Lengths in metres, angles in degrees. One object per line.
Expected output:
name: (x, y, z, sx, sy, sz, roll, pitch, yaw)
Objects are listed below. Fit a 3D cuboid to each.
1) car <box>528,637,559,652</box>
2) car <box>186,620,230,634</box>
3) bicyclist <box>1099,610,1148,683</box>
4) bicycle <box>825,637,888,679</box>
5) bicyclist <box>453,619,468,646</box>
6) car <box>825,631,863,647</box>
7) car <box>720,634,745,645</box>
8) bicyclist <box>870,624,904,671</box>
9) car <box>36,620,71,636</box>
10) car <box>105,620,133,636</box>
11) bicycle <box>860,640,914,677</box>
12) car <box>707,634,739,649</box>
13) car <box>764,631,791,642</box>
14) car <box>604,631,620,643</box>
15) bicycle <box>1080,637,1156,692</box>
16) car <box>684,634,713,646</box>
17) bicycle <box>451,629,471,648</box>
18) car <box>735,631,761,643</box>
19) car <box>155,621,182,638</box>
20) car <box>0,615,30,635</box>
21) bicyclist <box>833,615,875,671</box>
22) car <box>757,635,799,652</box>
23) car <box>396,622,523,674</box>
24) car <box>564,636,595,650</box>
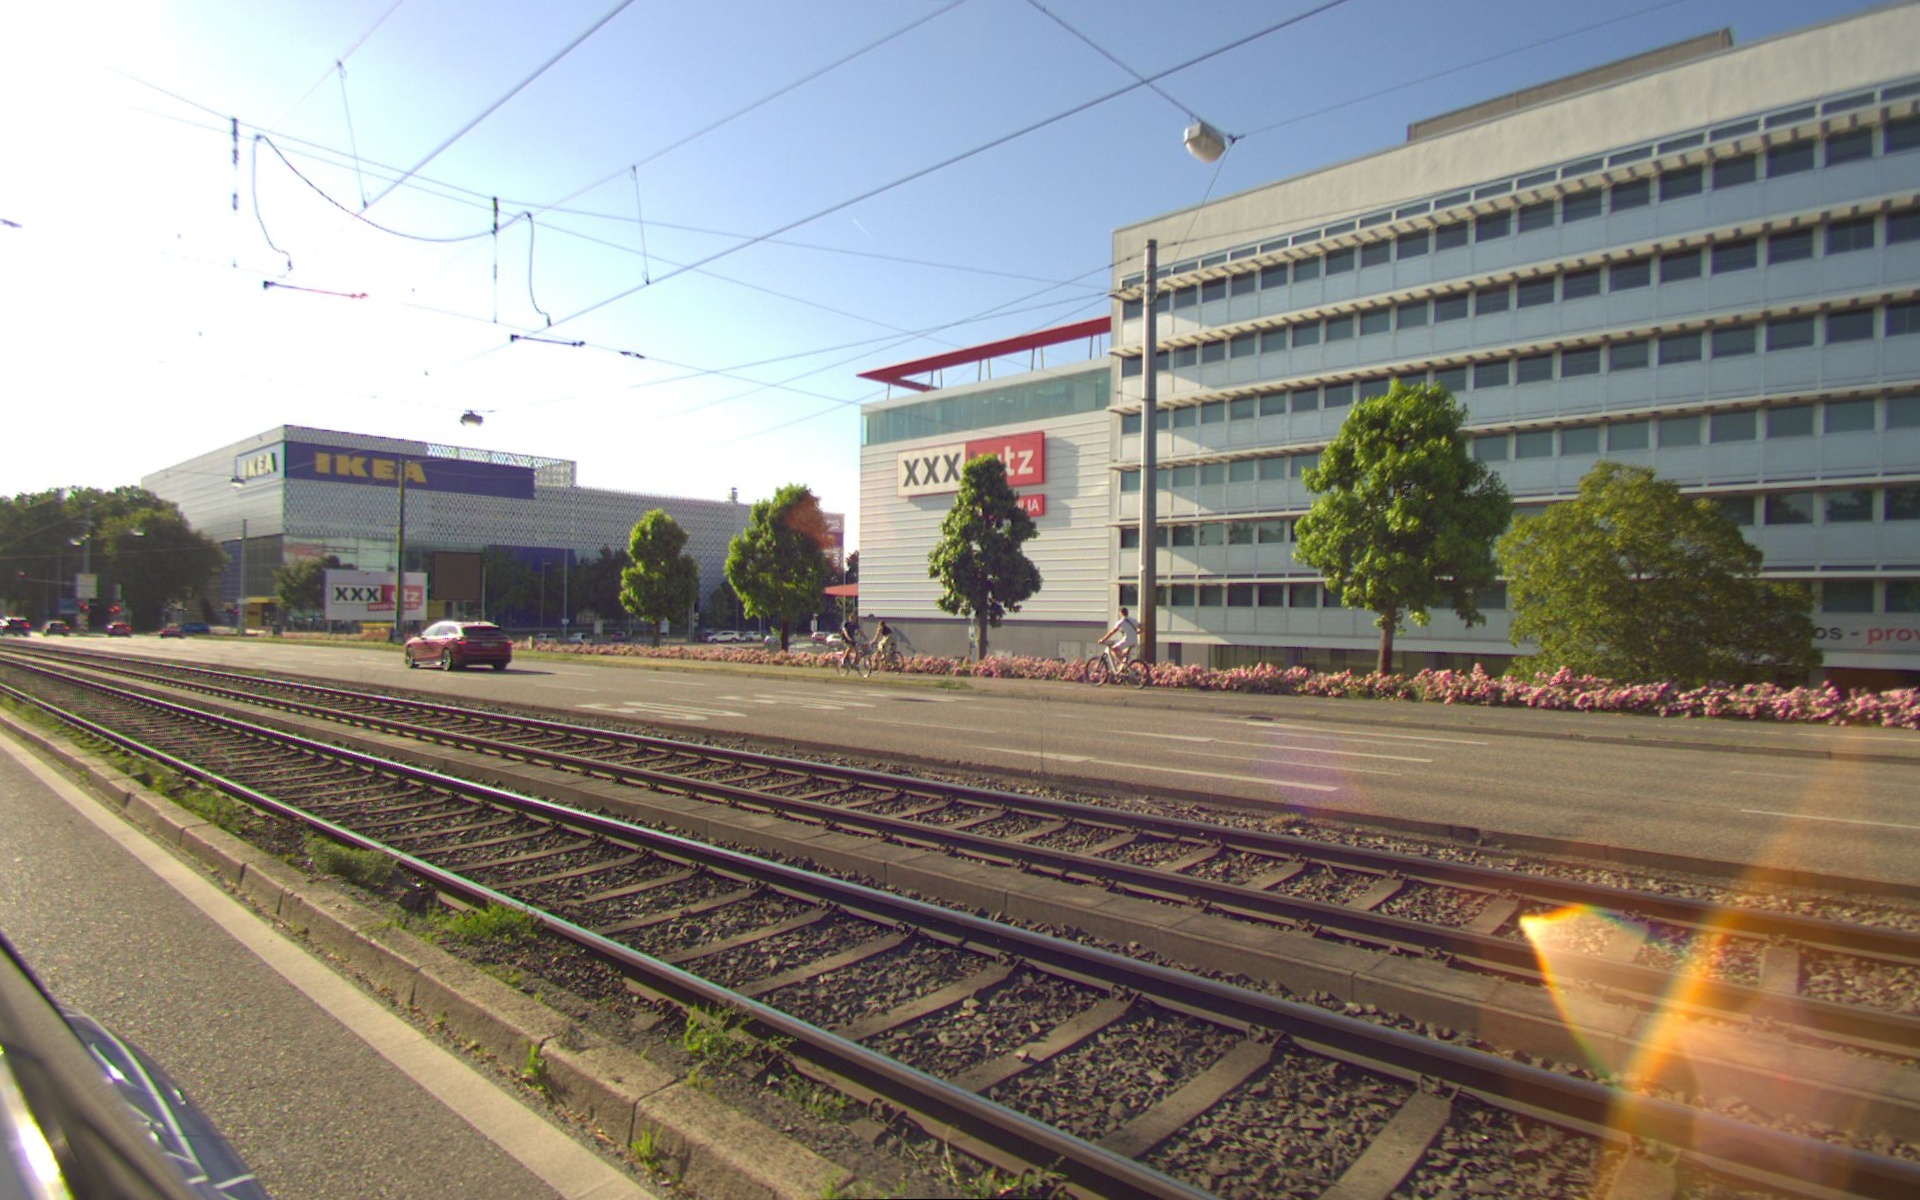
car: (-53.046, 5.622, 128.946, 3.994, 1.758, 1.911, -1, 0, 38)
car: (-94.904, 3.446, 127.679, 4.194, 1.509, 2.017, 5, -4, -44)
bicyclist: (3.894, 1.094, 24.145, 0.963, 1.671, 0.596, -1, 0, 44)
bicycle: (-2.959, 1.630, 28.722, 0.696, 1.081, 2.030, -2, 0, -42)
bicyclist: (-31.552, 2.057, 63.897, 0.653, 1.635, 0.802, -2, 0, -40)
car: (-12.752, 4.277, 111.532, 3.997, 1.715, 1.902, -1, 0, 40)
car: (-33.901, 5.893, 150.613, 3.999, 1.668, 1.704, -1, -2, 42)
bicyclist: (-2.239, 1.446, 30.991, 0.879, 1.384, 0.618, -1, -3, 41)
car: (-85.712, 2.676, 95.653, 4.133, 1.472, 1.838, -1, -2, 39)
car: (-81.350, 2.727, 97.848, 1.911, 1.488, 4.138, 4, -3, -41)
bicycle: (-2.237, 1.782, 30.977, 1.702, 1.067, 0.618, -1, -3, 41)
car: (-32.840, 5.731, 140.156, 4.157, 1.813, 1.832, -2, 0, -19)
car: (-28.089, 5.584, 155.736, 3.999, 1.668, 1.972, -1, -2, 42)
car: (-53.176, 5.655, 154.546, 1.876, 1.580, 4.262, -2, 0, -25)
bicycle: (3.782, 1.521, 24.266, 1.749, 1.228, 0.596, -1, 0, 44)
car: (-37.539, 5.771, 145.272, 4.431, 1.563, 1.652, -1, 0, 37)
bicycle: (-31.469, 2.412, 63.811, 0.653, 1.159, 2.025, -2, 0, -40)
car: (-31.886, 5.582, 152.368, 3.999, 1.668, 1.777, -1, -2, 42)
car: (-78.279, 2.943, 100.161, 1.796, 1.655, 4.010, 3, -3, -34)
car: (-83.040, 2.184, 88.575, 4.657, 1.668, 1.972, -1, -3, 42)
bicyclist: (-3.021, 1.208, 28.772, 0.696, 1.524, 0.971, -2, 0, -42)
car: (-19.027, 4.517, 105.527, 4.445, 1.715, 1.901, -1, 0, 40)
car: (-16.400, 1.497, 33.072, 4.885, 1.514, 2.018, 0, -1, 41)
car: (-49.934, 5.624, 132.793, 3.994, 1.605, 1.911, -1, 0, 38)
